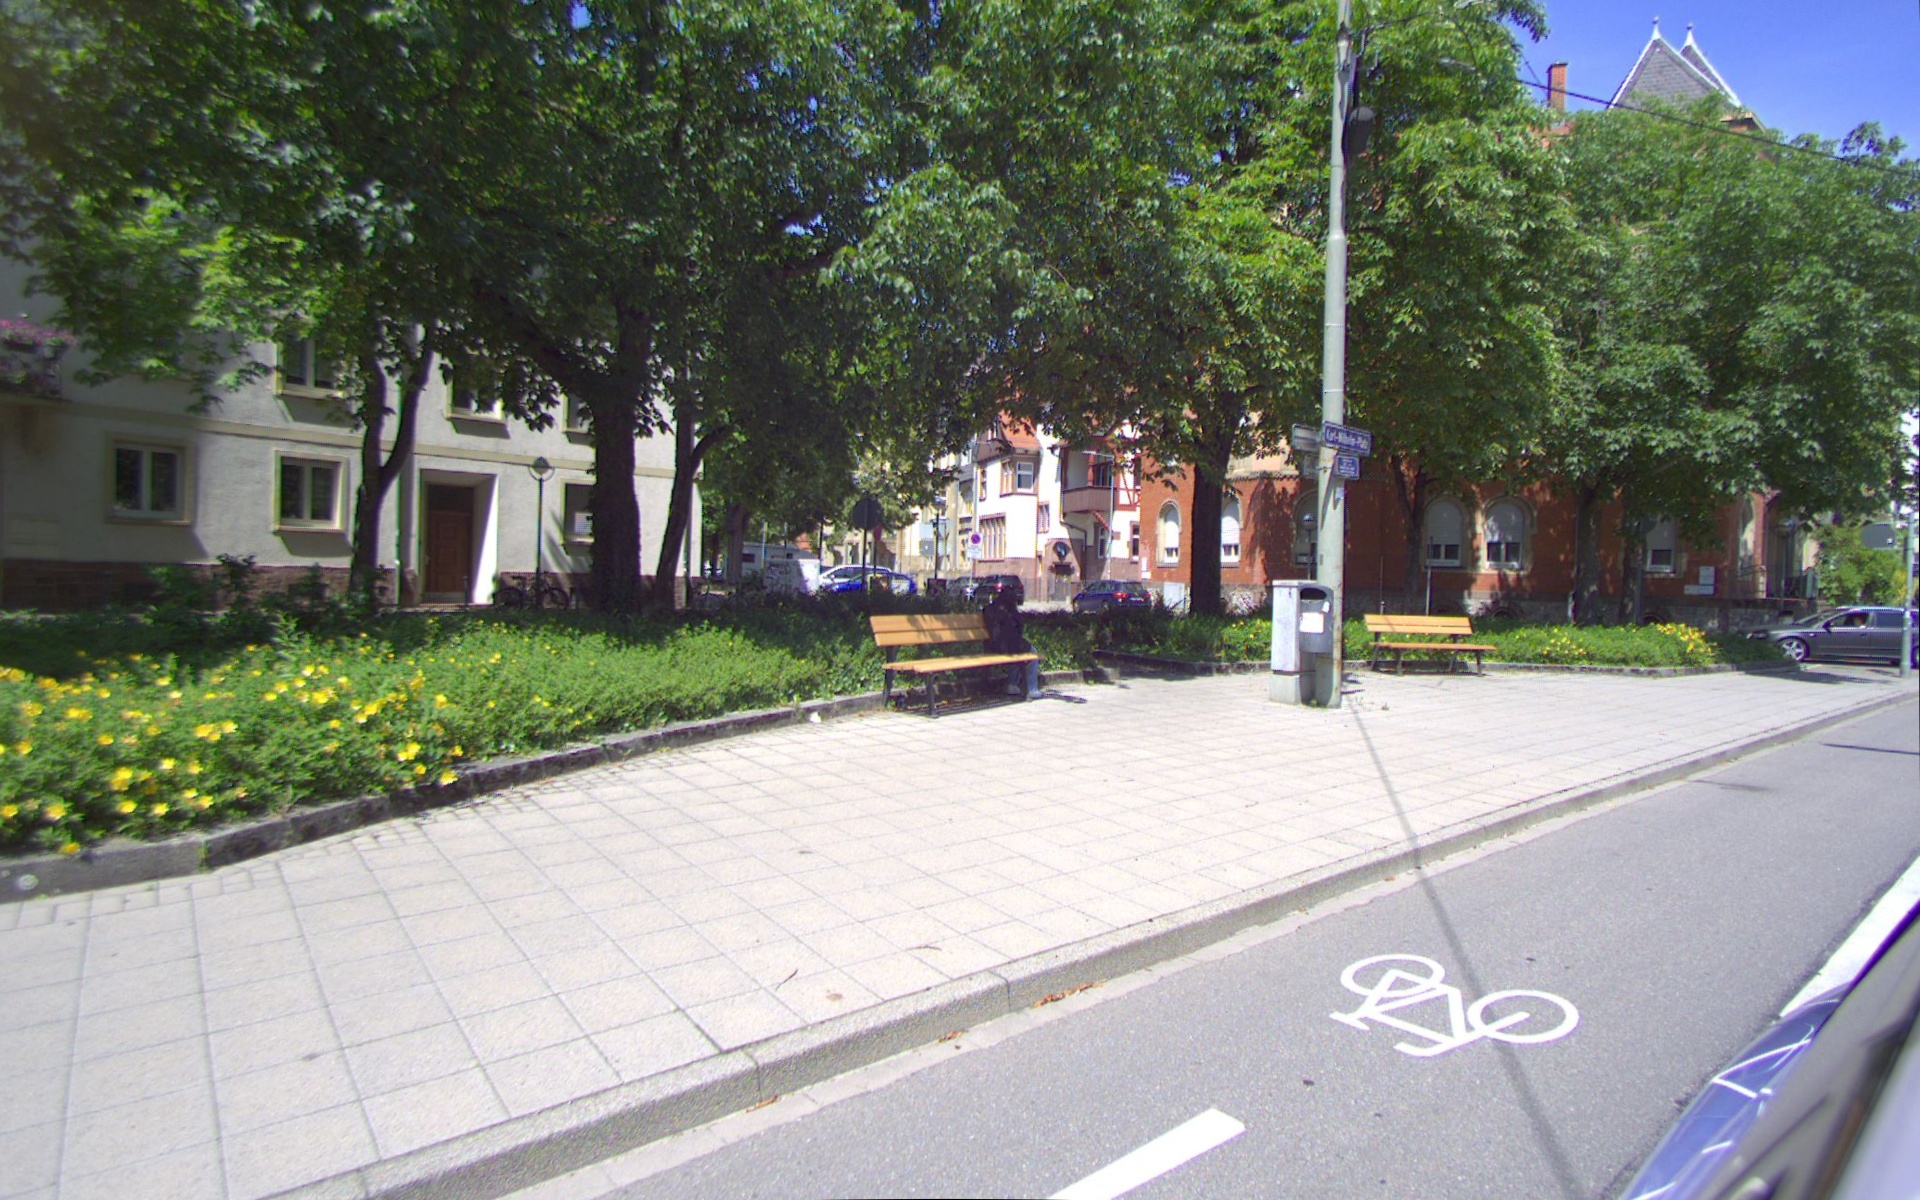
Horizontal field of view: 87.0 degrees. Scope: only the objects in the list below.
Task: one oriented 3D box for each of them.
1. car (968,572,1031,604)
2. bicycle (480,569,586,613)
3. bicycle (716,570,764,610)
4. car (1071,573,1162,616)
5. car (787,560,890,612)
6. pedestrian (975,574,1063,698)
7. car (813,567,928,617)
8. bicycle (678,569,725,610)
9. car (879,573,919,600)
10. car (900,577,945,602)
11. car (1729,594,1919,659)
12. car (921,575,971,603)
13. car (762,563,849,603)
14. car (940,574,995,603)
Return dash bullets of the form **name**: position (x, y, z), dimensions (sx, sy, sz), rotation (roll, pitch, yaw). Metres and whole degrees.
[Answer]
- **car**: position (2.059, -0.618, 54.076), dimensions (1.897, 1.638, 4.318), rotation (0, 0, -19)
- **bicycle**: position (-10.258, -0.224, 24.376), dimensions (2.230, 1.024, 0.751), rotation (-1, 0, -41)
- **bicycle**: position (-5.873, -0.269, 26.905), dimensions (0.736, 1.024, 2.273), rotation (0, 0, -26)
- **car**: position (6.269, -0.232, 41.027), dimensions (1.897, 1.638, 4.318), rotation (0, 0, -19)
- **car**: position (-5.378, -0.628, 44.829), dimensions (4.219, 2.219, 1.942), rotation (0, 0, -18)
- **pedestrian**: position (0.594, 0.334, 10.076), dimensions (0.562, 1.156, 0.718), rotation (3, 2, 33)
- **car**: position (-3.551, -0.322, 40.017), dimensions (4.219, 1.903, 1.942), rotation (0, 0, -18)
- **bicycle**: position (-6.781, -0.261, 26.476), dimensions (0.736, 1.024, 2.273), rotation (0, 0, -26)
- **car**: position (-4.511, -1.003, 74.462), dimensions (1.897, 1.897, 4.318), rotation (0, 0, -19)
- **car**: position (-2.574, -0.725, 67.950), dimensions (1.897, 1.638, 4.318), rotation (0, 0, -19)
- **car**: position (22.163, 0.618, 24.794), dimensions (4.985, 1.501, 1.920), rotation (0, 0, 27)
- **car**: position (-0.926, -0.689, 63.254), dimensions (1.897, 1.638, 4.318), rotation (0, 0, -19)
- **car**: position (-8.092, -0.882, 52.939), dimensions (4.219, 2.029, 1.942), rotation (0, 0, -18)
- **car**: position (0.372, -0.653, 58.683), dimensions (1.897, 1.638, 4.318), rotation (0, 0, -19)
